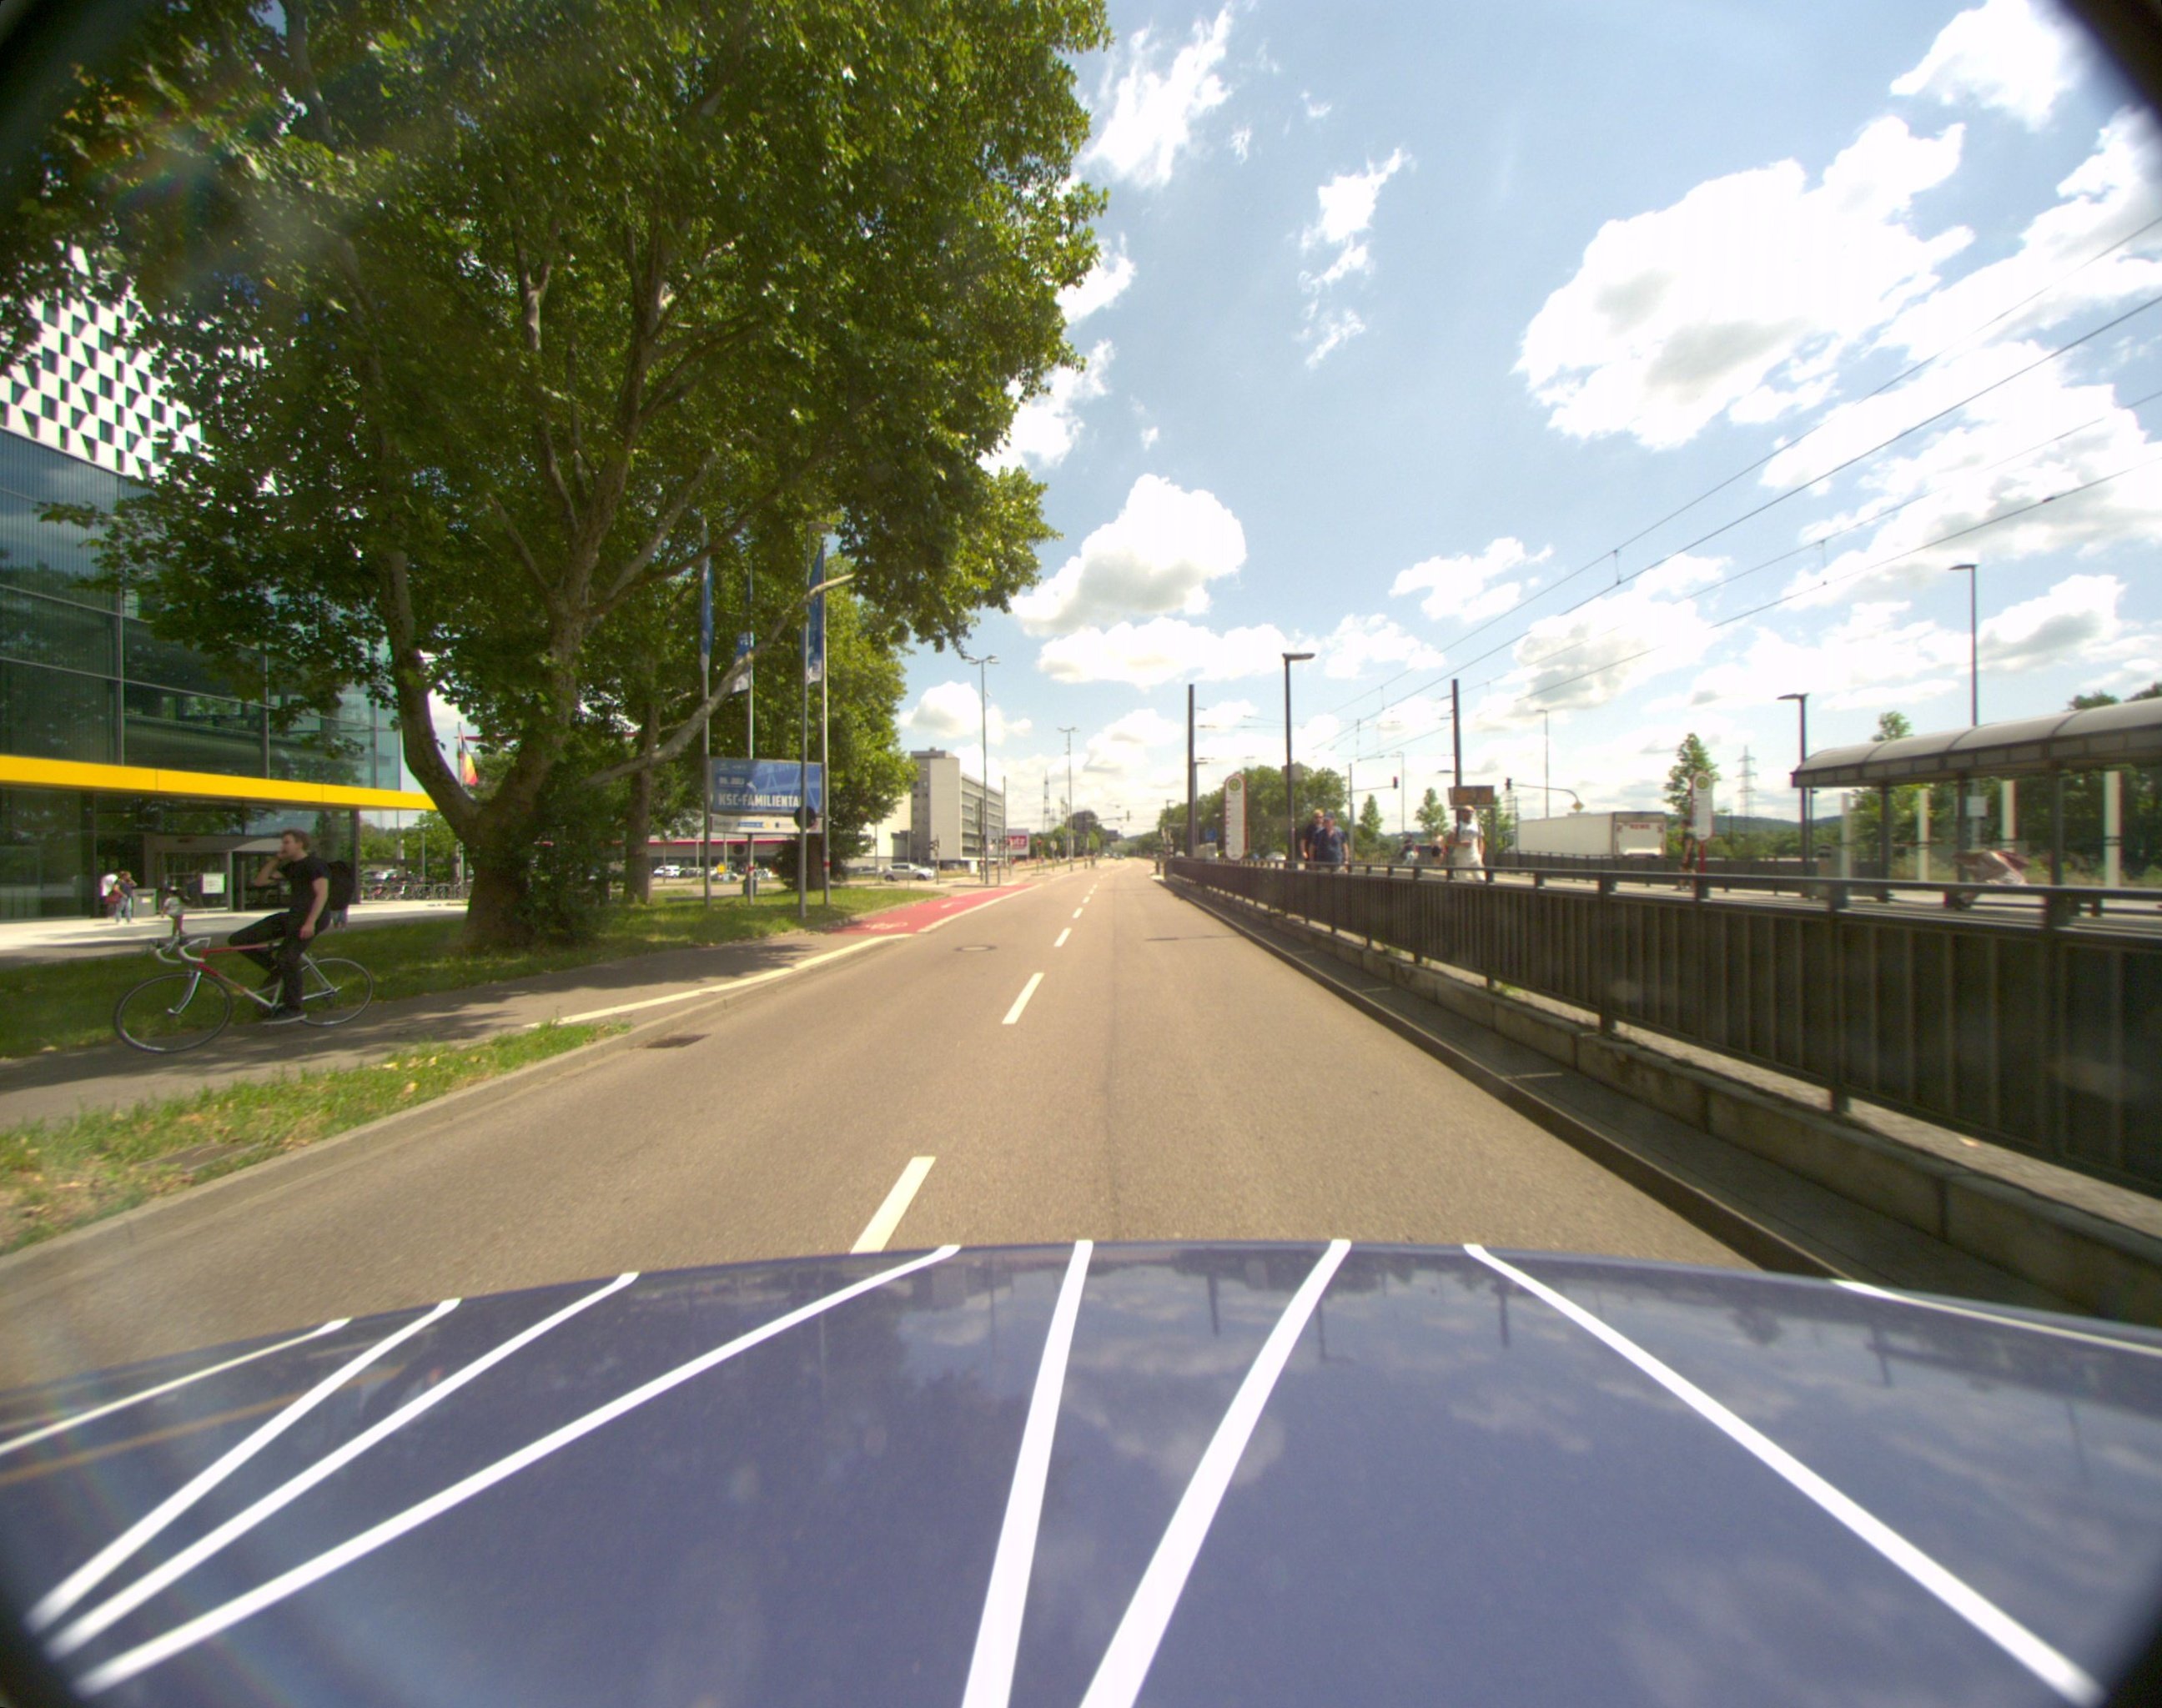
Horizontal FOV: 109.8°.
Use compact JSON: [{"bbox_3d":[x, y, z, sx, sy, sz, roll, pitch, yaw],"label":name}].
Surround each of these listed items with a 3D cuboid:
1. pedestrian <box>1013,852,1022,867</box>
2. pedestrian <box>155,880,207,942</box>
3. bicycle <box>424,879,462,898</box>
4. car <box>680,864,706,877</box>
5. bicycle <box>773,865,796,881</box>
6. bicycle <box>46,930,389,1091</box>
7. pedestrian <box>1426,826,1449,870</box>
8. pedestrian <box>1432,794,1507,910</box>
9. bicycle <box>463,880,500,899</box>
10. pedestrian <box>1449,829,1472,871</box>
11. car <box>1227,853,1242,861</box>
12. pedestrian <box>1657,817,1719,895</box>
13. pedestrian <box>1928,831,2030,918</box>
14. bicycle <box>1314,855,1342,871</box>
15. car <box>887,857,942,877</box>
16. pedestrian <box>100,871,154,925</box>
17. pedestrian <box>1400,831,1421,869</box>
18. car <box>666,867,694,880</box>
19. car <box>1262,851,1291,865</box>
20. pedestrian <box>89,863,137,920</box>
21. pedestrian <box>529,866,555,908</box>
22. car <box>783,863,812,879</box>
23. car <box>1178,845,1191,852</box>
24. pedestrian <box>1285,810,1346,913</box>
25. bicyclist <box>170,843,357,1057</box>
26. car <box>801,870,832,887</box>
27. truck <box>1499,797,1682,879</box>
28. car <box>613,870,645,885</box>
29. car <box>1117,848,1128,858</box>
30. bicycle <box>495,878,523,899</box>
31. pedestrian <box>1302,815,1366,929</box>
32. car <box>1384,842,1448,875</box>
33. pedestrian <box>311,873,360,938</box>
[{"bbox_3d":[-8.126,0.692,97.224,0.868,1.827,0.796,-2,3,-24],"label":"pedestrian"},{"bbox_3d":[-24.357,1.546,20.568,0.591,1.606,0.666,-4,-3,0],"label":"pedestrian"},{"bbox_3d":[-35.474,1.921,42.262,0.464,0.989,1.868,-2,0,1],"label":"bicycle"},{"bbox_3d":[-62.469,2.667,122.357,1.775,2.002,4.001,-2,0,4],"label":"car"},{"bbox_3d":[-31.724,2.034,81.304,2.046,1.665,1.021,-2,-1,5],"label":"bicycle"},{"bbox_3d":[-7.480,1.295,6.780,0.621,0.993,2.024,-2,0,4],"label":"bicycle"},{"bbox_3d":[14.752,-0.242,31.459,0.636,1.738,0.678,-3,0,7],"label":"pedestrian"},{"bbox_3d":[6.275,-0.025,12.319,0.735,1.797,0.930,-2,0,4],"label":"pedestrian"},{"bbox_3d":[-33.187,1.954,42.092,0.423,0.988,1.869,-2,-1,6],"label":"bicycle"},{"bbox_3d":[15.581,-0.154,31.198,0.600,1.711,0.708,-2,0,7],"label":"pedestrian"},{"bbox_3d":[26.382,0.494,130.778,1.669,1.400,3.891,-2,0,-3],"label":"car"},{"bbox_3d":[14.421,0.042,18.081,0.735,1.797,0.930,-2,0,4],"label":"pedestrian"},{"bbox_3d":[15.332,0.334,13.002,0.763,1.423,0.787,2,0,3],"label":"pedestrian"},{"bbox_3d":[17.254,0.633,53.112,1.720,1.081,0.621,-2,0,6],"label":"bicycle"},{"bbox_3d":[-13.138,1.040,60.090,3.830,1.461,1.900,-1,2,1],"label":"car"},{"bbox_3d":[-29.823,1.365,23.763,0.805,1.654,0.702,0,0,-26],"label":"pedestrian"},{"bbox_3d":[15.322,-0.183,35.327,0.729,1.711,0.525,-2,0,8],"label":"pedestrian"},{"bbox_3d":[-64.825,3.149,122.897,1.998,1.977,4.364,0,-1,4],"label":"car"},{"bbox_3d":[26.719,0.551,103.871,1.885,1.763,4.662,-1,-1,-13],"label":"car"},{"bbox_3d":[-33.090,1.269,25.978,0.617,1.875,0.783,-2,0,13],"label":"pedestrian"},{"bbox_3d":[-24.781,1.504,34.934,0.889,1.874,0.971,1,-1,-39],"label":"pedestrian"},{"bbox_3d":[-39.147,2.310,105.156,1.998,1.978,4.598,0,1,4],"label":"car"},{"bbox_3d":[26.653,-1.326,195.661,1.995,1.797,5.143,-1,-1,21],"label":"car"},{"bbox_3d":[4.568,0.154,14.887,0.875,1.927,0.995,-2,-1,3],"label":"pedestrian"},{"bbox_3d":[-7.485,0.827,7.012,0.610,1.835,0.924,-2,1,4],"label":"bicyclist"},{"bbox_3d":[-32.773,2.961,94.197,1.998,1.977,4.364,-1,-1,4],"label":"car"},{"bbox_3d":[29.035,-0.797,44.381,2.949,4.080,11.999,-2,0,2],"label":"truck"},{"bbox_3d":[-63.922,3.297,107.422,1.841,1.978,4.085,-1,1,3],"label":"car"},{"bbox_3d":[9.334,-0.203,170.610,1.997,2.001,4.004,-2,-1,11],"label":"car"},{"bbox_3d":[-31.945,1.914,42.453,0.504,1.101,1.924,1,-1,-13],"label":"bicycle"},{"bbox_3d":[4.050,0.288,12.223,0.735,1.745,0.930,-2,0,4],"label":"pedestrian"},{"bbox_3d":[19.762,0.305,45.018,1.998,1.809,4.669,-1,-1,4],"label":"car"},{"bbox_3d":[-20.989,1.440,21.405,0.665,1.761,0.669,-1,1,6],"label":"pedestrian"}]
